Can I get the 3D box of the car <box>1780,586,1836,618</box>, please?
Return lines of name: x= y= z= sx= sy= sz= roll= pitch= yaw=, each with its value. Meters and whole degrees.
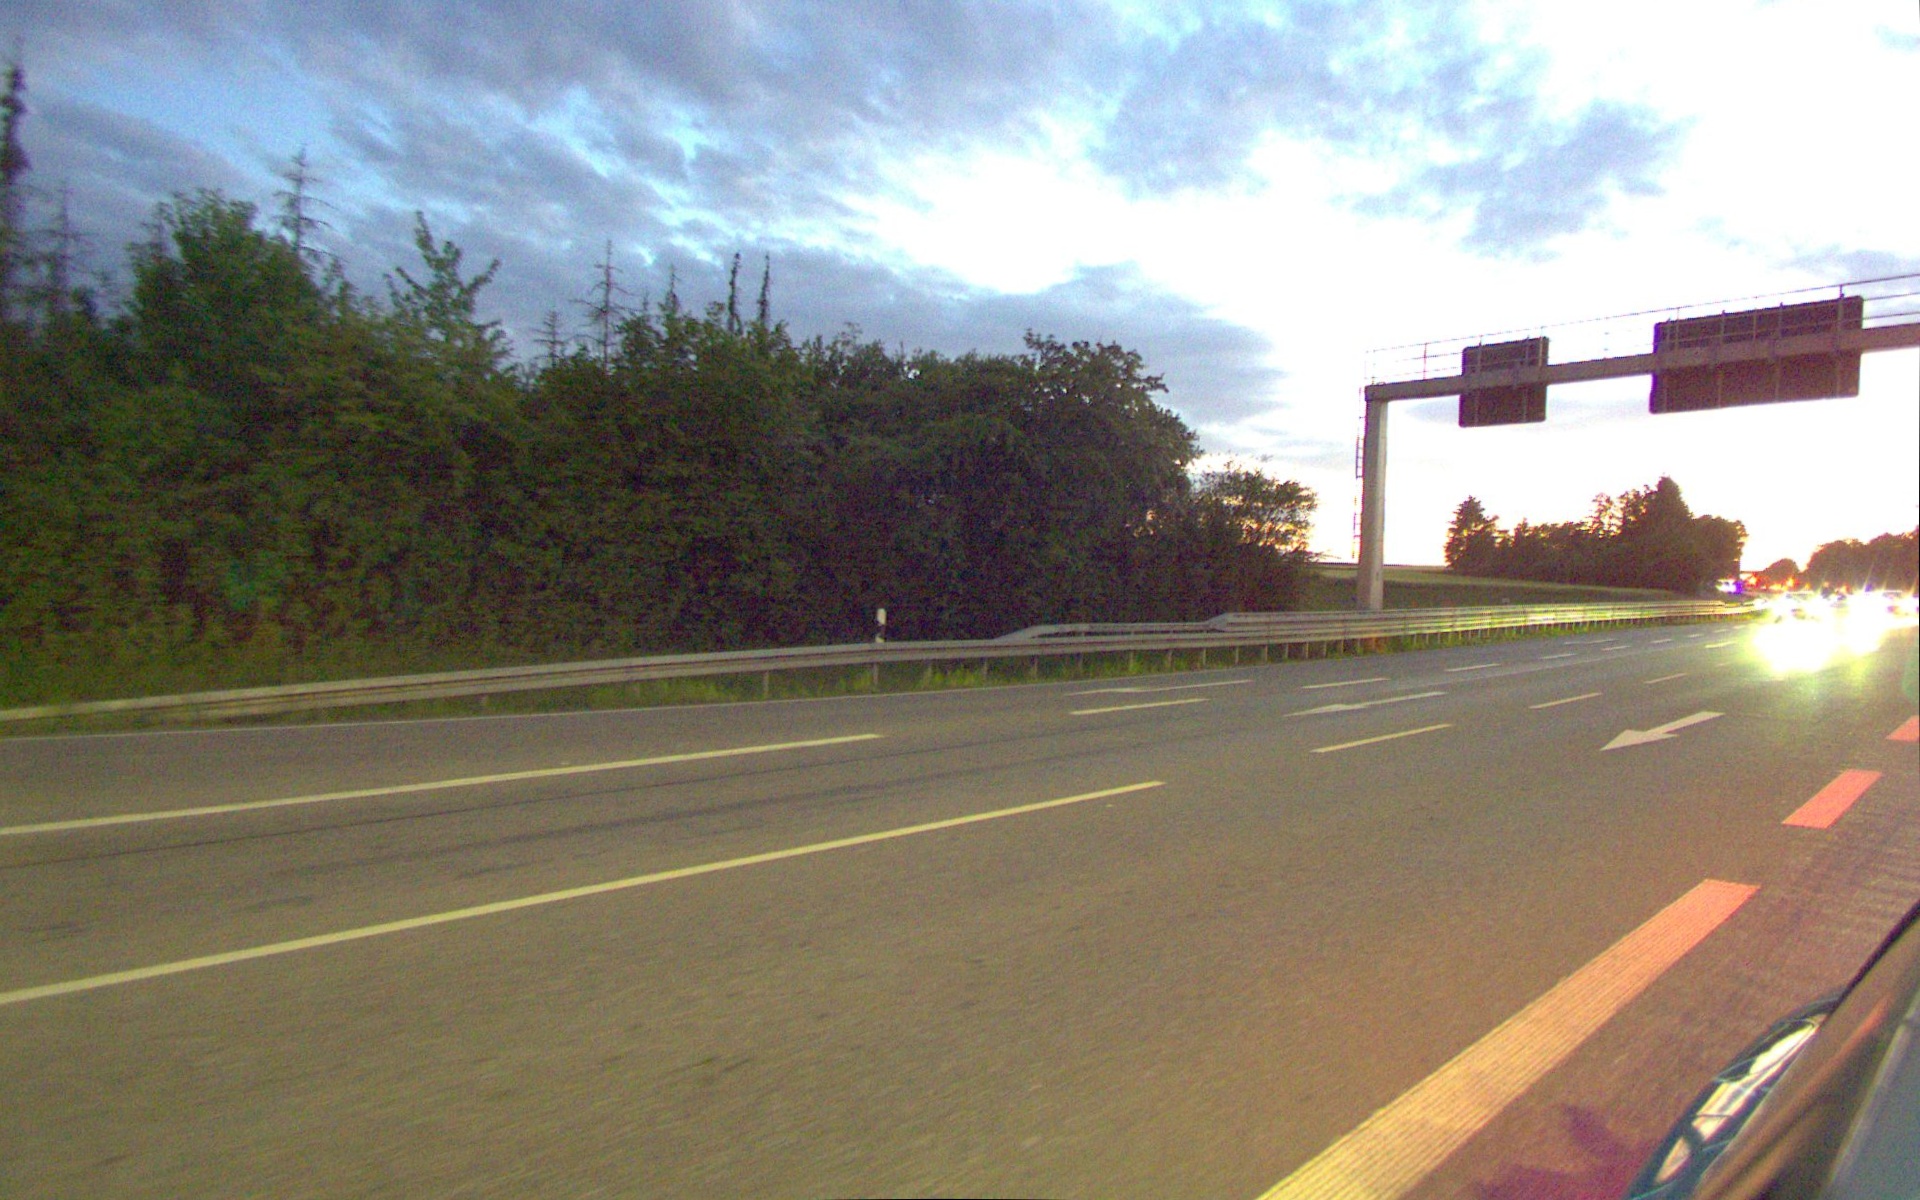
car: x=43.765 y=0.093 z=52.218 sx=1.993 sy=1.604 sz=3.937 roll=0 pitch=0 yaw=44

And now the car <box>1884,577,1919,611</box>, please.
car: x=58.881 y=-0.399 z=63.092 sx=1.857 sy=2.039 sz=3.938 roll=-1 pitch=0 yaw=43

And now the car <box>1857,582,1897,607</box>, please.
car: x=65.594 y=-0.388 z=72.448 sx=1.824 sy=1.772 sz=3.796 roll=-1 pitch=-1 yaw=39
